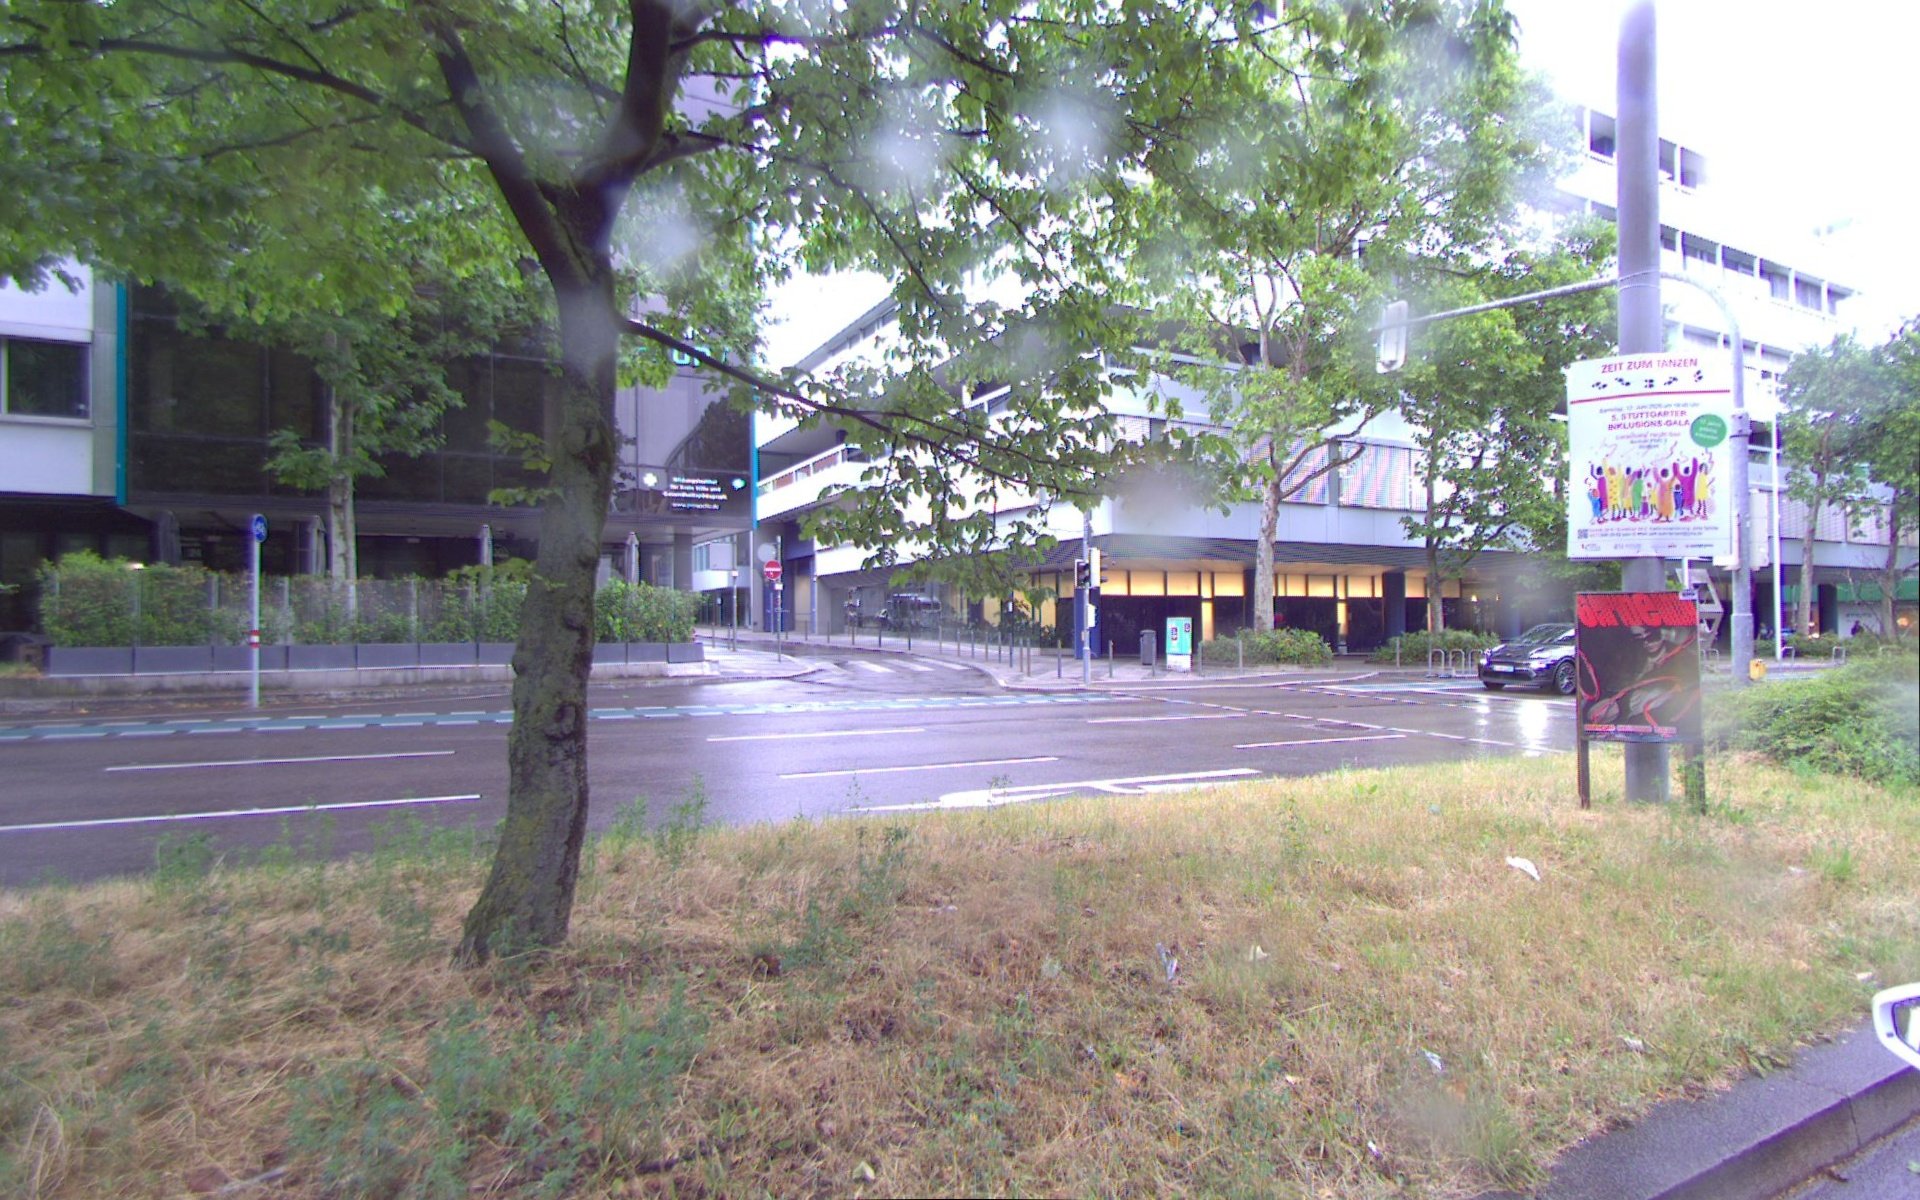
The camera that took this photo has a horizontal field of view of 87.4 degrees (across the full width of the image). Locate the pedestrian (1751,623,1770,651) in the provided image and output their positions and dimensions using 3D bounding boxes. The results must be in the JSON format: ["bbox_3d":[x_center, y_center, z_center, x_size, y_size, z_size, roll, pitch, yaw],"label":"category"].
[{"bbox_3d":[40.810,1.908,51.223,0.470,1.398,0.632,2,0,-40],"label":"pedestrian"}]

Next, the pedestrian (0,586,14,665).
[{"bbox_3d":[-20.716,0.534,21.457,0.617,1.669,0.600,2,0,-34],"label":"pedestrian"}]

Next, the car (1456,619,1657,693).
[{"bbox_3d":[14.474,1.352,24.339,4.683,1.605,1.903,2,0,-26],"label":"car"}]

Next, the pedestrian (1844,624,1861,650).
[{"bbox_3d":[51.736,2.137,58.227,0.570,1.502,0.604,2,0,-40],"label":"pedestrian"}]
